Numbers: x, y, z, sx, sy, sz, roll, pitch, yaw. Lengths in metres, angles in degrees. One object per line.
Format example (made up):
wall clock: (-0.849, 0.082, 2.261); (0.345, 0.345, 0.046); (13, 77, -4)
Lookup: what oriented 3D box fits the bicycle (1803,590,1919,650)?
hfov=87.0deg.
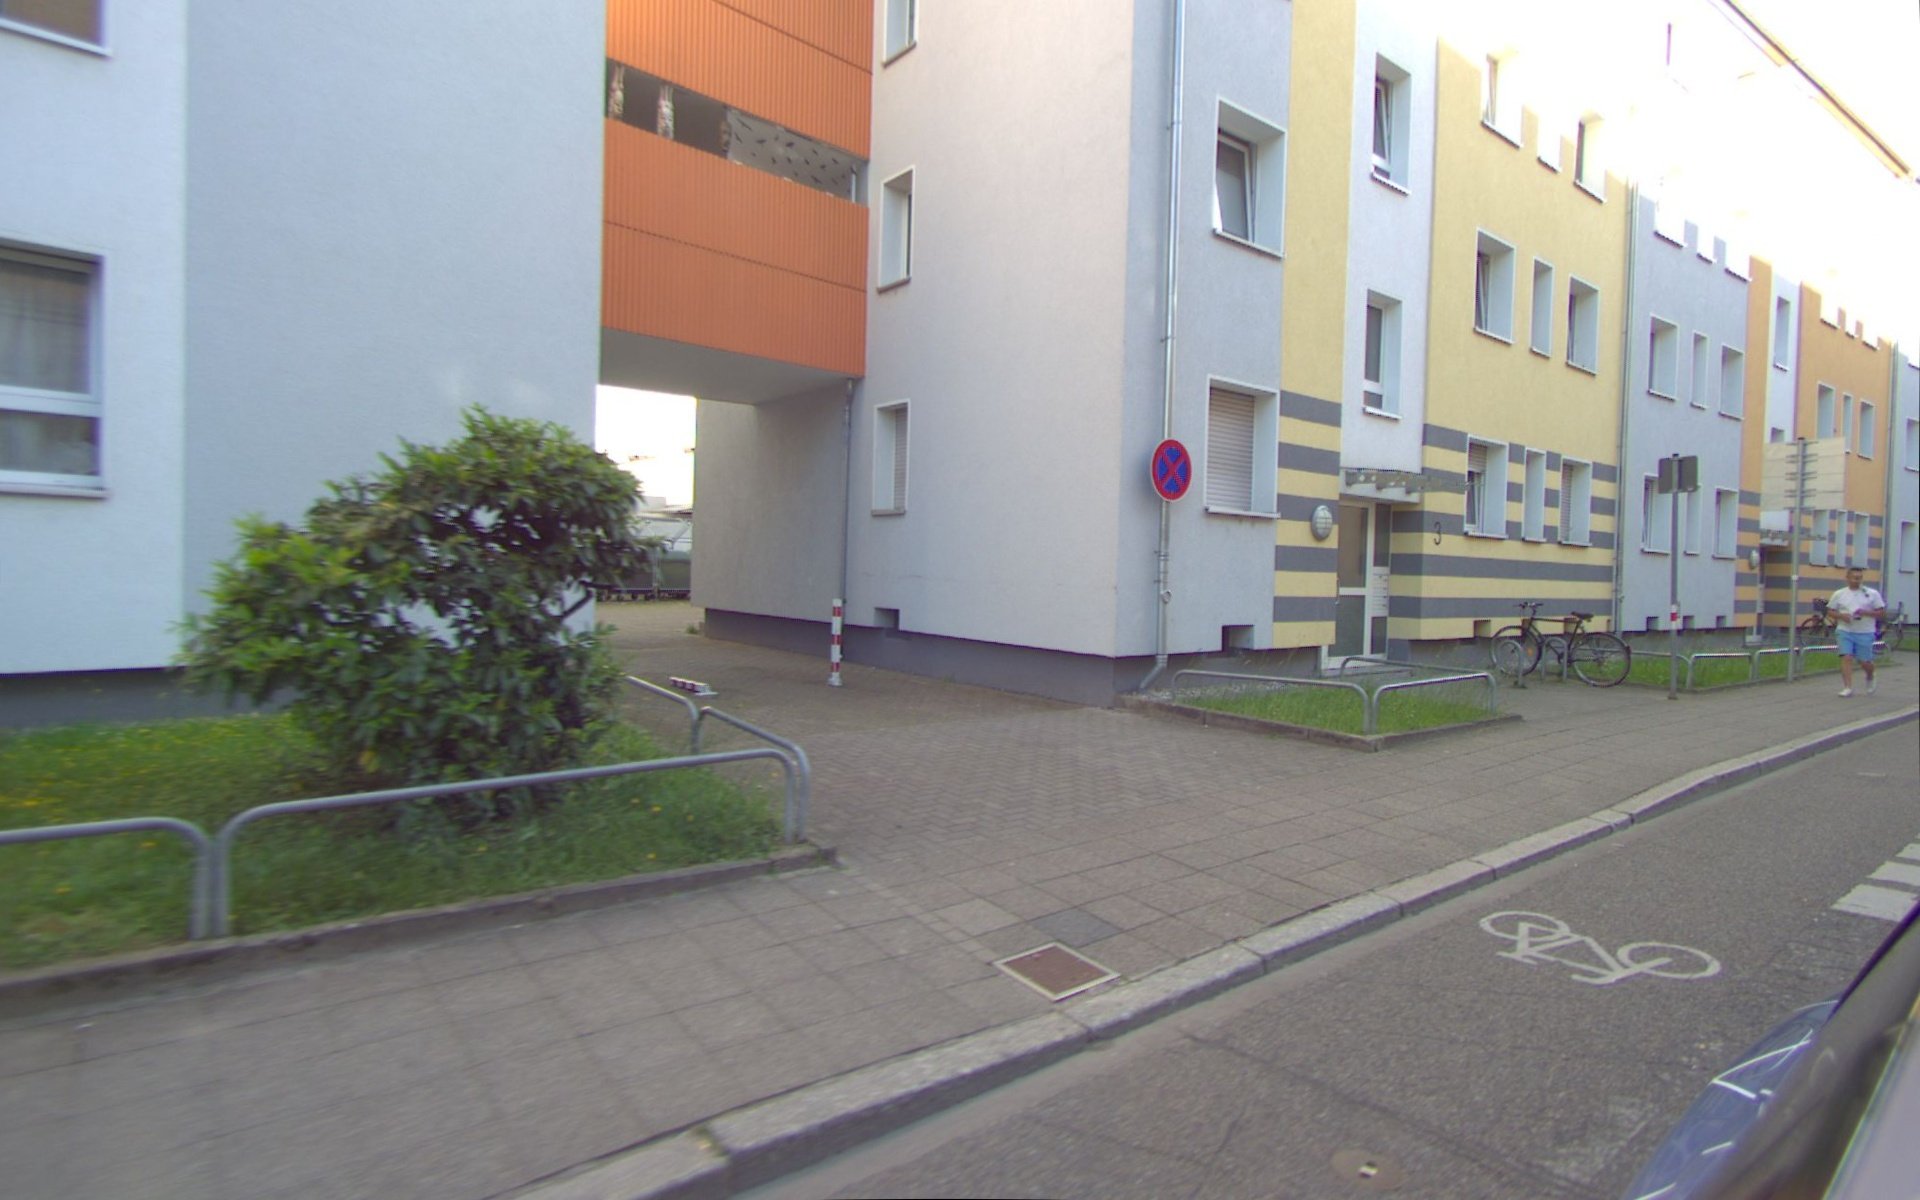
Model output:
bicycle: (19.359, 0.405, 21.745); (0.573, 1.137, 1.777); (0, 4, -39)

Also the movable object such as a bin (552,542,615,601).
movable object such as a bin: (-10.262, -0.789, 27.582); (1.307, 1.518, 1.184); (-1, 4, -38)

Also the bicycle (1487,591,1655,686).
bicycle: (8.042, 0.466, 13.385); (0.574, 1.061, 1.775); (-1, 4, -42)

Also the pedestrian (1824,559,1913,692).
pedestrian: (12.046, 0.319, 13.425); (0.818, 1.692, 0.645); (0, 2, -35)

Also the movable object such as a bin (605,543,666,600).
movable object such as a bin: (-9.141, -0.818, 28.488); (1.307, 1.518, 1.184); (-1, 4, -38)

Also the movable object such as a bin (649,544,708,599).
movable object such as a bin: (-8.229, -0.840, 29.552); (1.307, 1.518, 1.184); (-1, 4, -38)

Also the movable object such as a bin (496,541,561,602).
movable object such as a bin: (-11.354, -0.757, 26.644); (1.307, 1.518, 1.184); (-1, 4, -38)
